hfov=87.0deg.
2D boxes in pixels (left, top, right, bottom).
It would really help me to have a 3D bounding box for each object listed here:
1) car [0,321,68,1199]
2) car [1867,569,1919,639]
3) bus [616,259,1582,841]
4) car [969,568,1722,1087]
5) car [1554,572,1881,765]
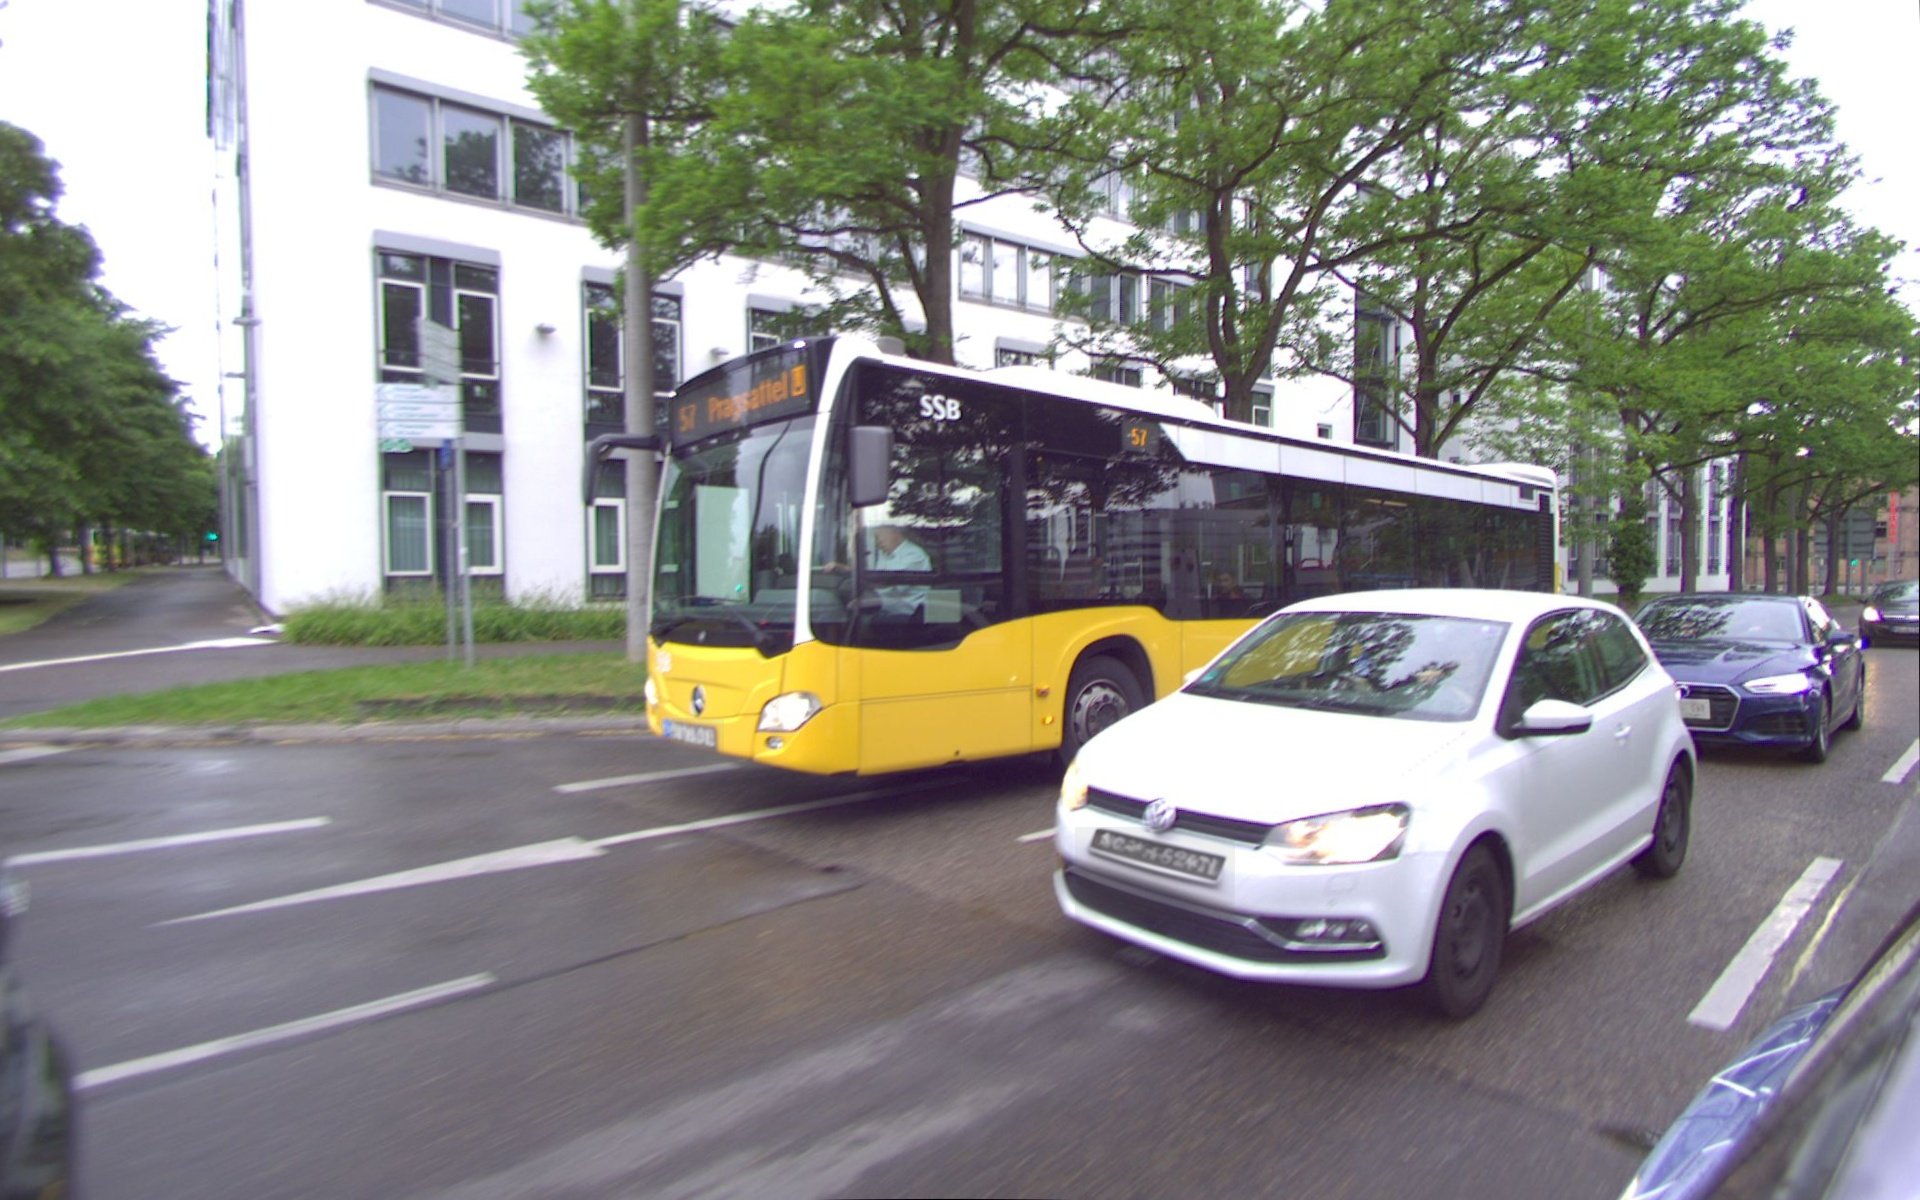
[{"bbox_3d":[-2.988,0.621,0.301,4.043,1.615,1.887,-2,1,-42],"label":"car"},{"bbox_3d":[21.509,0.043,22.348,3.487,1.452,1.625,-2,1,-39],"label":"car"},{"bbox_3d":[2.803,-0.344,10.507,11.934,3.192,2.731,-1,0,-41],"label":"bus"},{"bbox_3d":[2.013,0.586,4.750,3.746,1.449,1.744,-2,3,-41],"label":"car"},{"bbox_3d":[7.333,0.473,9.616,4.262,1.371,1.874,-2,1,-45],"label":"car"}]
